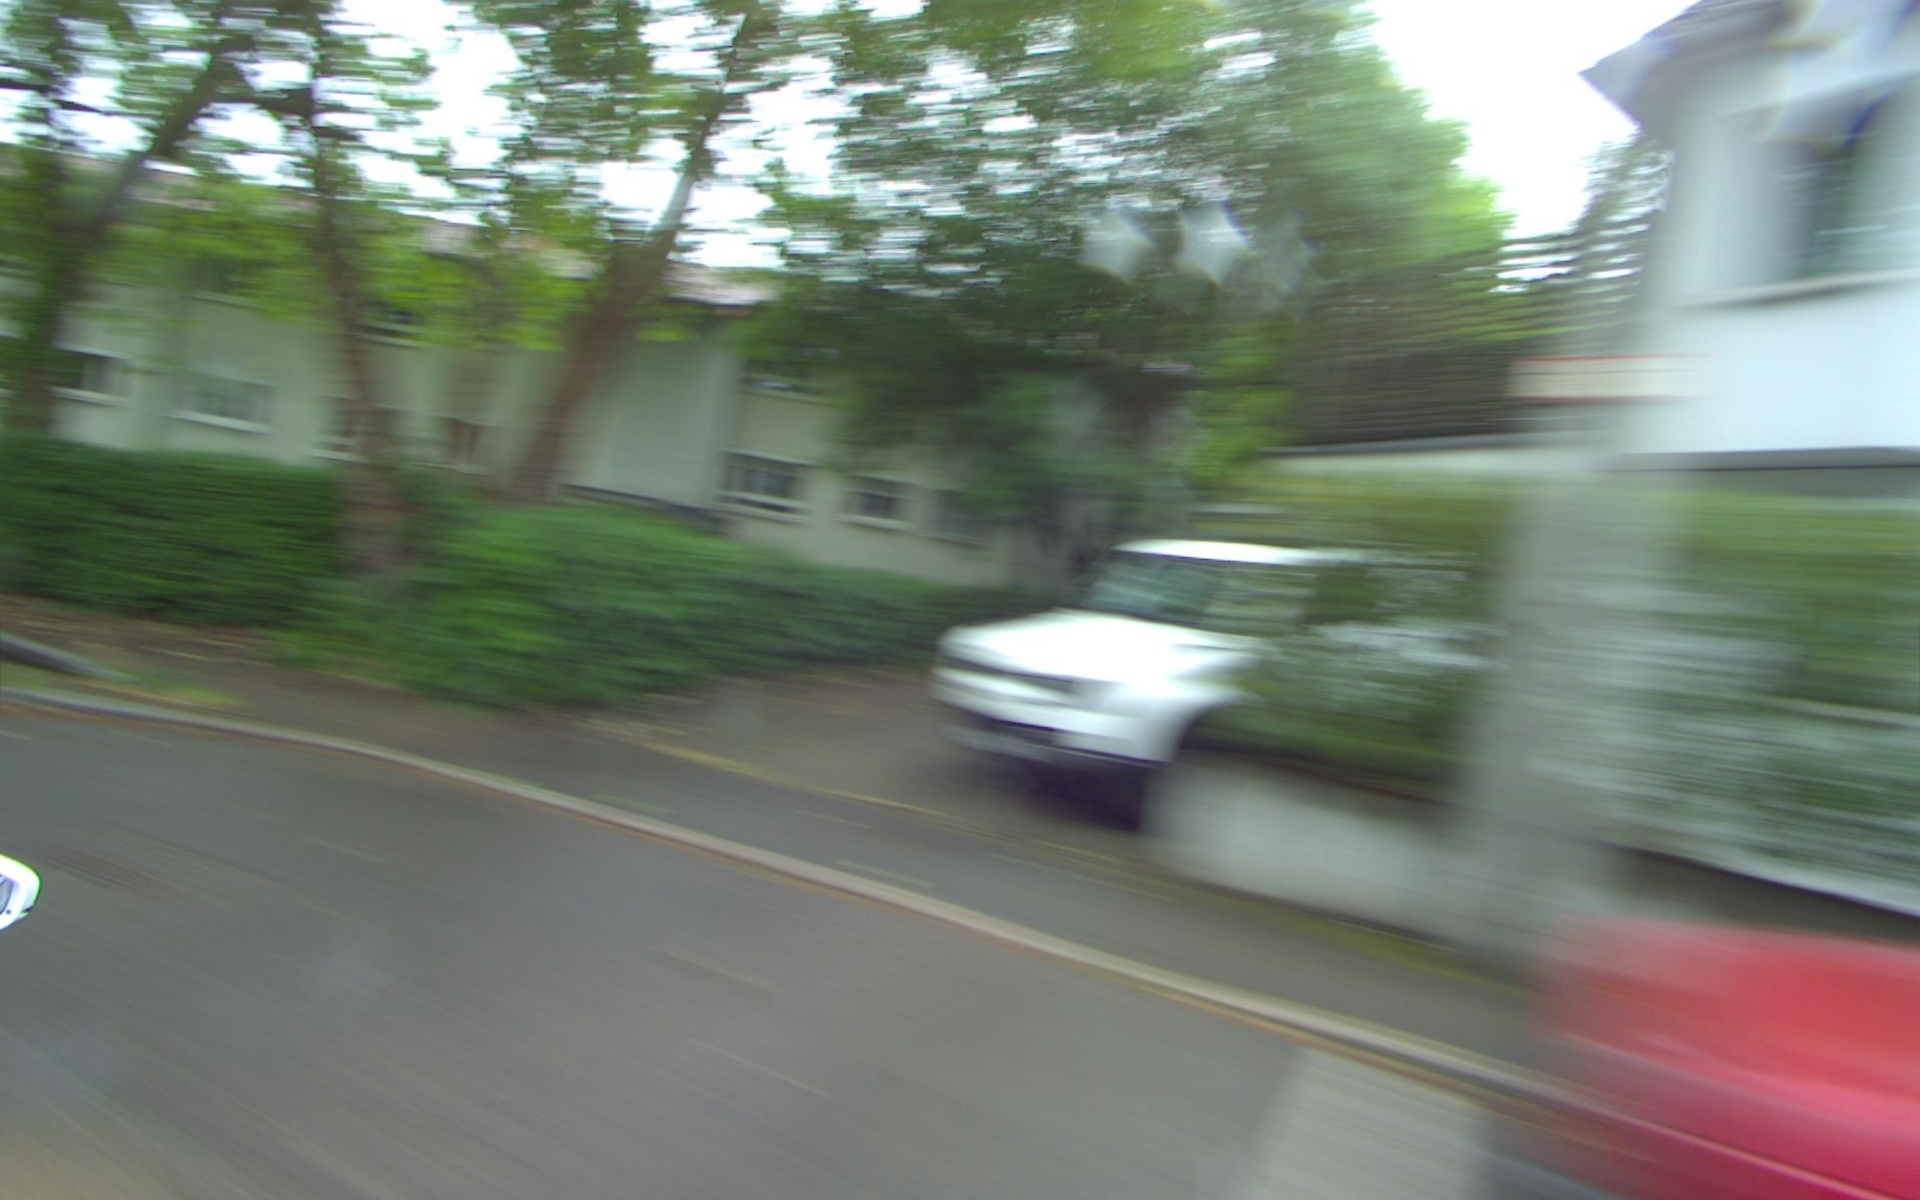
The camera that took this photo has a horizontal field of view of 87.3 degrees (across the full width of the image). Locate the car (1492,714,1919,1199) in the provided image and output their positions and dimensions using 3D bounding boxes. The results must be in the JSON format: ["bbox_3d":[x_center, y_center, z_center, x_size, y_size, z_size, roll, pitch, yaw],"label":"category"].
[{"bbox_3d":[3.222,1.158,1.534,4.128,1.383,1.782,5,-2,33],"label":"car"}]

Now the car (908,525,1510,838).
[{"bbox_3d":[1.974,0.354,7.867,4.349,1.871,1.985,-2,6,-28],"label":"car"}]
